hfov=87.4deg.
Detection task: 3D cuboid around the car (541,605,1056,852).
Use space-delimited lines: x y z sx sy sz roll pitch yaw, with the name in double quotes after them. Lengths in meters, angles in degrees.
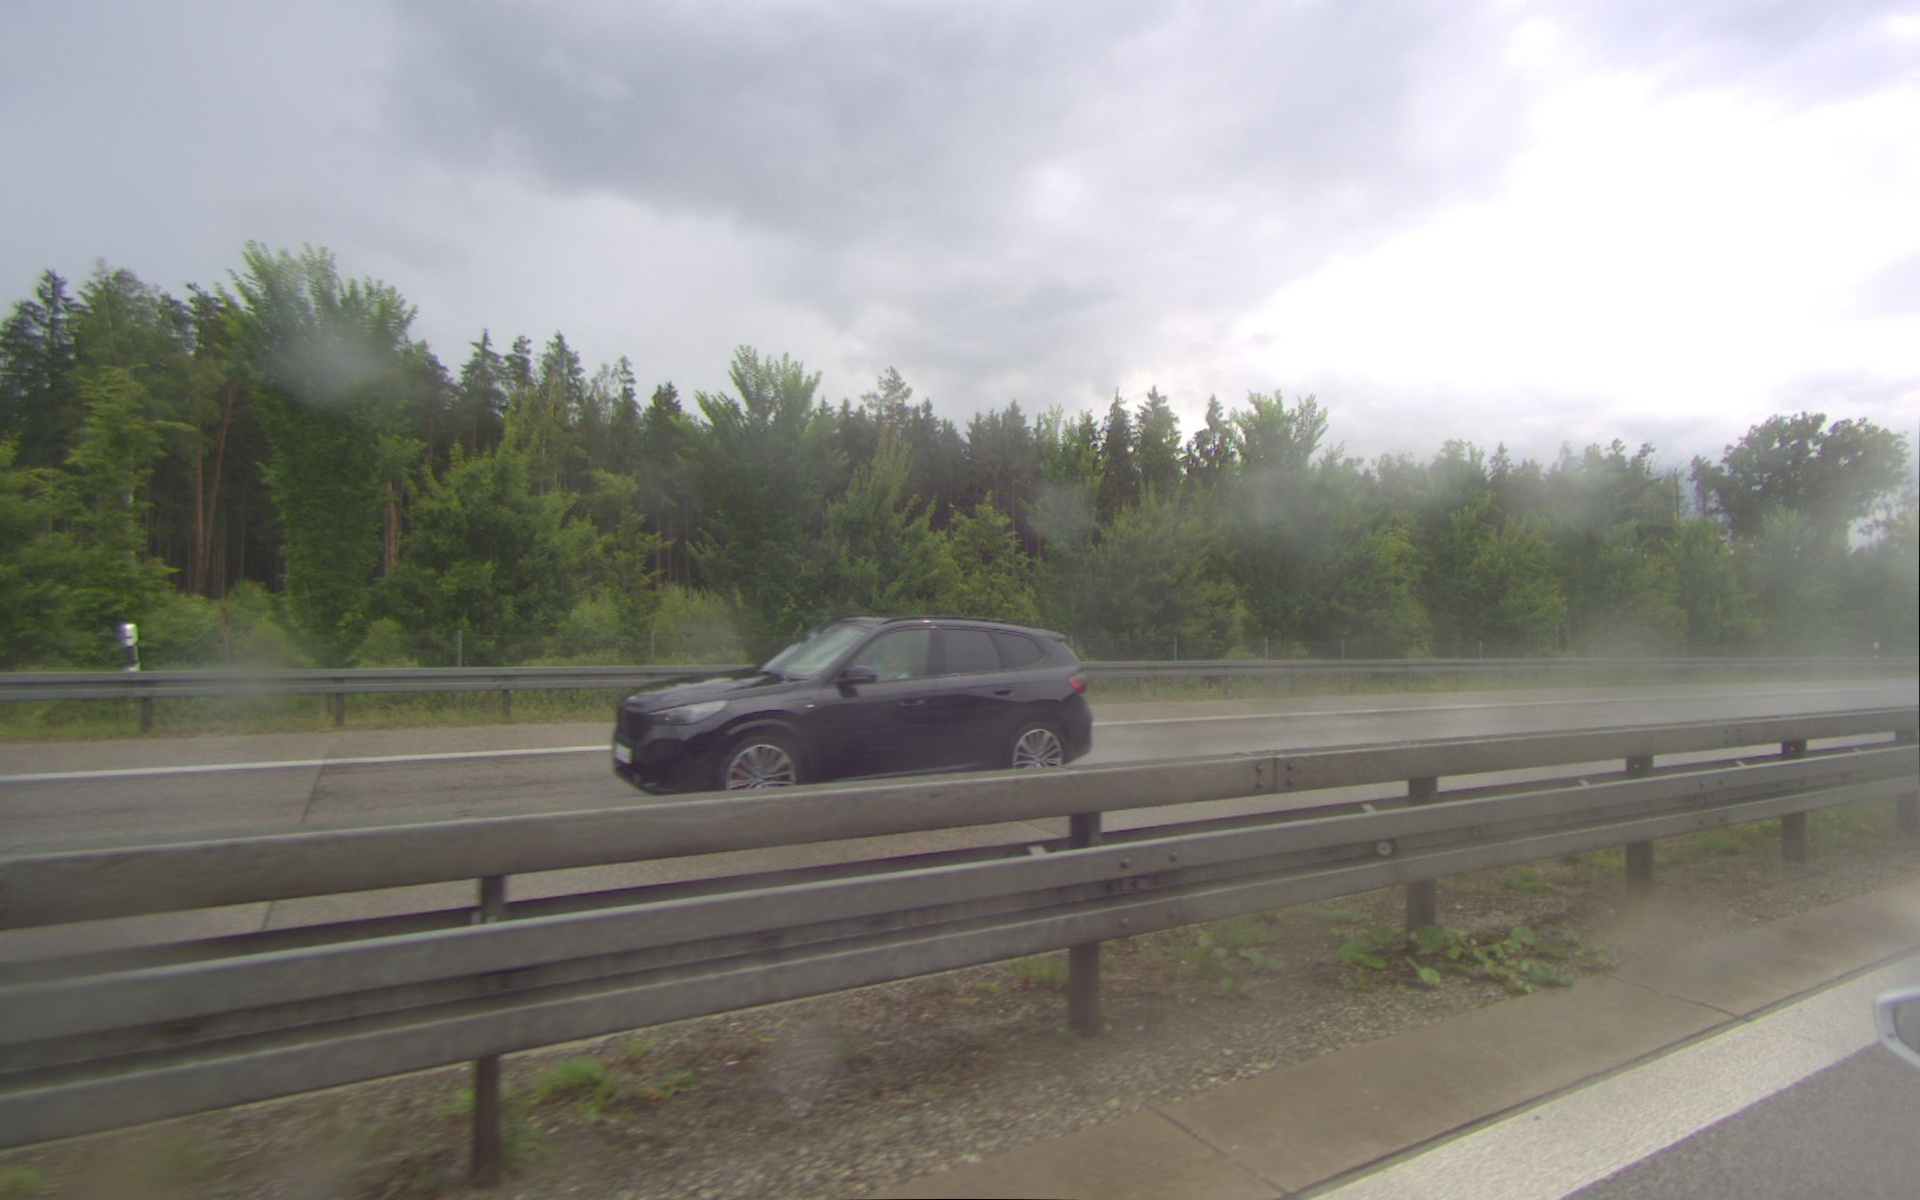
-1.301 0.911 8.529 3.956 1.640 1.785 1 -3 -32 "car"
